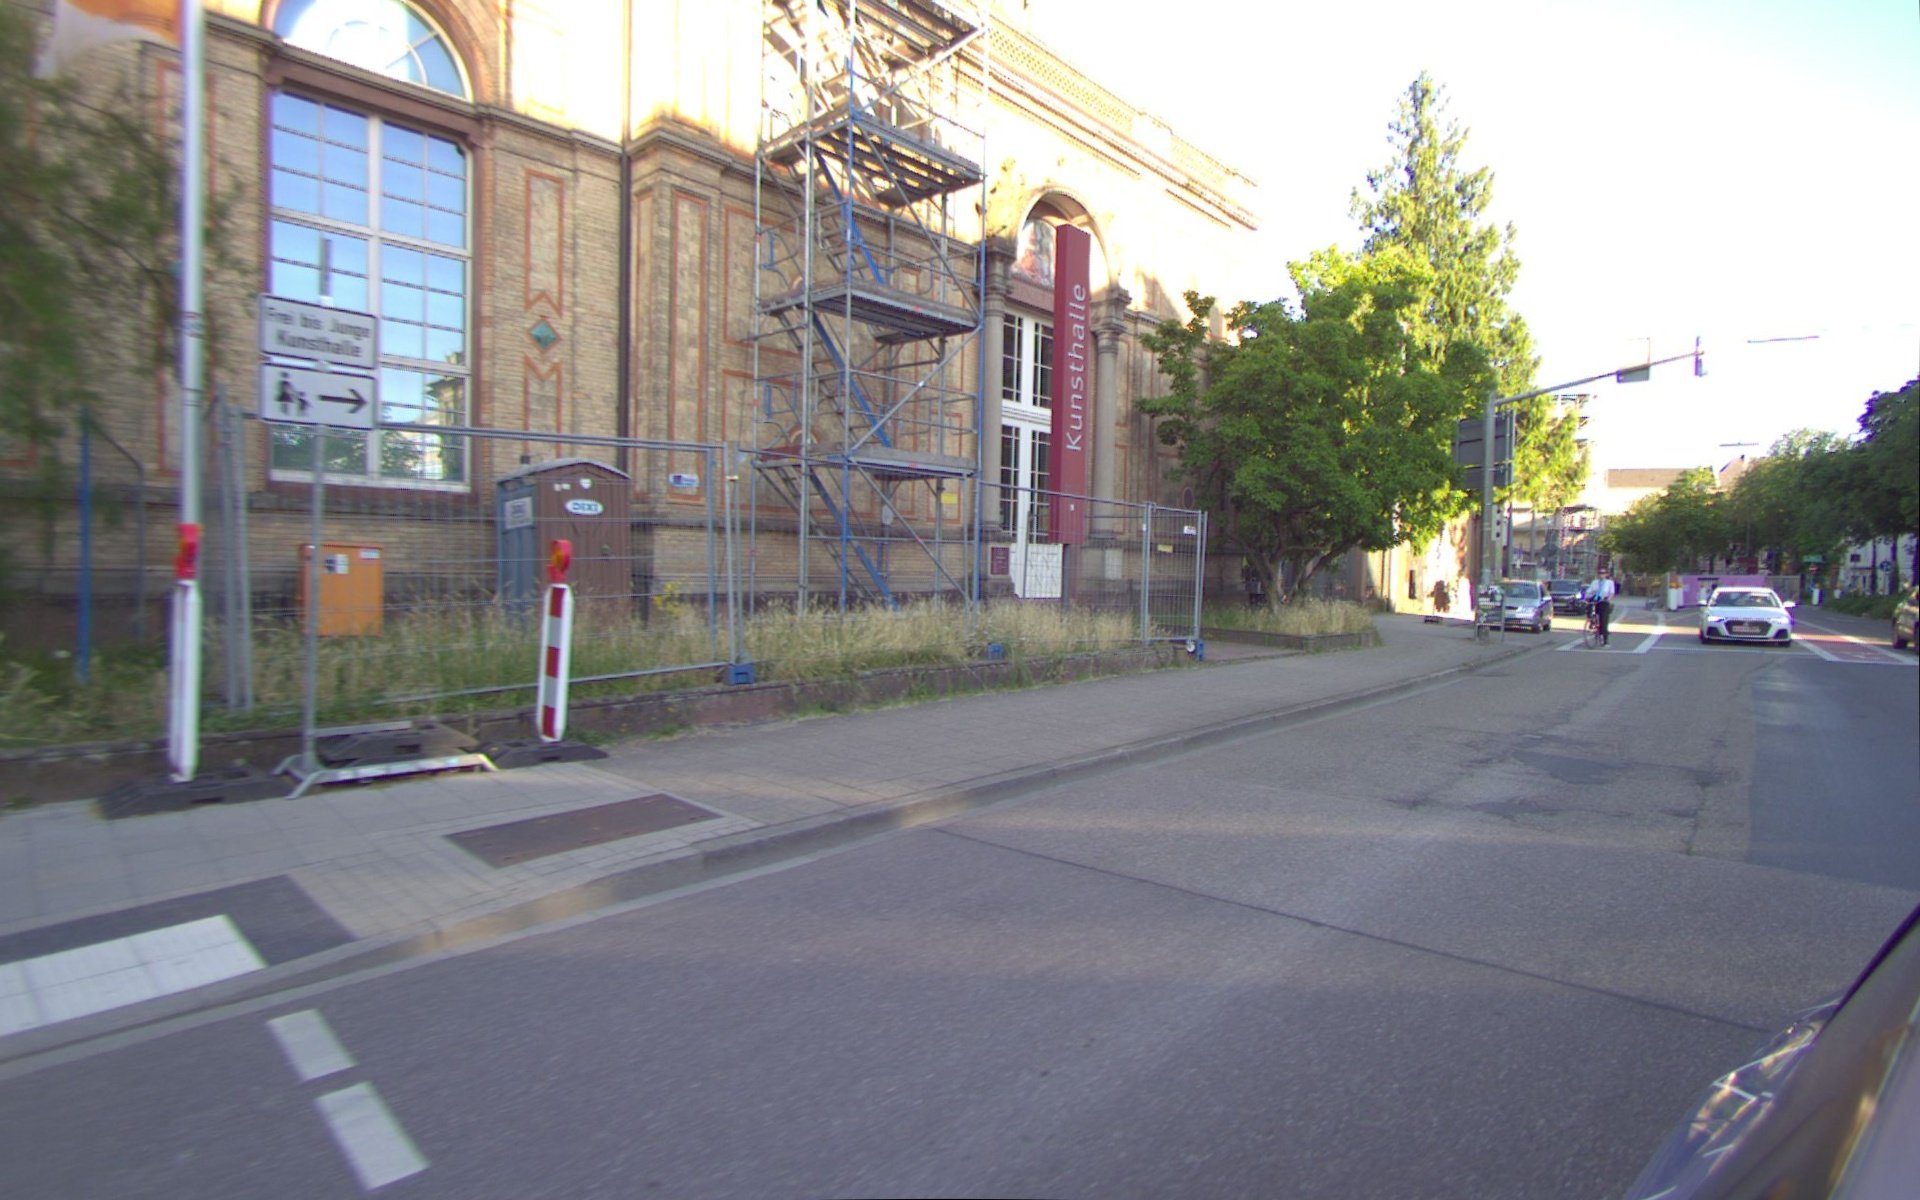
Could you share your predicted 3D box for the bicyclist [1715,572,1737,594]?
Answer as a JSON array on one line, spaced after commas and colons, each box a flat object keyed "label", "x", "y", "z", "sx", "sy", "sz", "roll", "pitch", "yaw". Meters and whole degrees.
[{"label": "bicyclist", "x": 44.027, "y": -0.994, "z": 58.162, "sx": 0.781, "sy": 1.238, "sz": 0.591, "roll": 1, "pitch": 2, "yaw": -8}]

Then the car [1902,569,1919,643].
[{"label": "car", "x": 22.139, "y": 0.163, "z": 22.025, "sx": 1.823, "sy": 1.632, "sz": 4.025, "roll": 2, "pitch": 2, "yaw": 35}]

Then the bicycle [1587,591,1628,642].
[{"label": "bicycle", "x": 14.895, "y": 0.362, "z": 23.279, "sx": 0.494, "sy": 1.114, "sz": 1.641, "roll": 1, "pitch": 1, "yaw": 44}]

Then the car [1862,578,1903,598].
[{"label": "car", "x": 85.224, "y": -1.127, "z": 93.533, "sx": 1.700, "sy": 1.679, "sz": 3.794, "roll": 2, "pitch": 3, "yaw": 25}]

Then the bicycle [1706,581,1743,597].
[{"label": "bicycle", "x": 43.943, "y": -0.649, "z": 58.160, "sx": 1.713, "sy": 0.850, "sz": 0.591, "roll": 1, "pitch": 2, "yaw": -5}]

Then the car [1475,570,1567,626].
[{"label": "car", "x": 16.336, "y": -0.107, "z": 29.369, "sx": 1.706, "sy": 1.462, "sz": 4.142, "roll": 3, "pitch": 3, "yaw": 37}]

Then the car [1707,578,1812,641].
[{"label": "car", "x": 20.044, "y": 0.167, "z": 25.506, "sx": 1.823, "sy": 1.408, "sz": 3.971, "roll": 2, "pitch": 2, "yaw": 35}]

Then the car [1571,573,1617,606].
[{"label": "car", "x": 31.052, "y": -0.538, "z": 49.506, "sx": 1.678, "sy": 1.510, "sz": 4.025, "roll": 2, "pitch": 2, "yaw": 35}]

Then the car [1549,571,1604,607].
[{"label": "car", "x": 27.586, "y": -0.525, "z": 45.241, "sx": 1.823, "sy": 1.510, "sz": 4.025, "roll": 2, "pitch": 2, "yaw": 35}]

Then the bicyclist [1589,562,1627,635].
[{"label": "bicyclist", "x": 14.983, "y": -0.041, "z": 23.397, "sx": 0.665, "sy": 1.664, "sz": 0.512, "roll": 1, "pitch": 1, "yaw": 44}]
